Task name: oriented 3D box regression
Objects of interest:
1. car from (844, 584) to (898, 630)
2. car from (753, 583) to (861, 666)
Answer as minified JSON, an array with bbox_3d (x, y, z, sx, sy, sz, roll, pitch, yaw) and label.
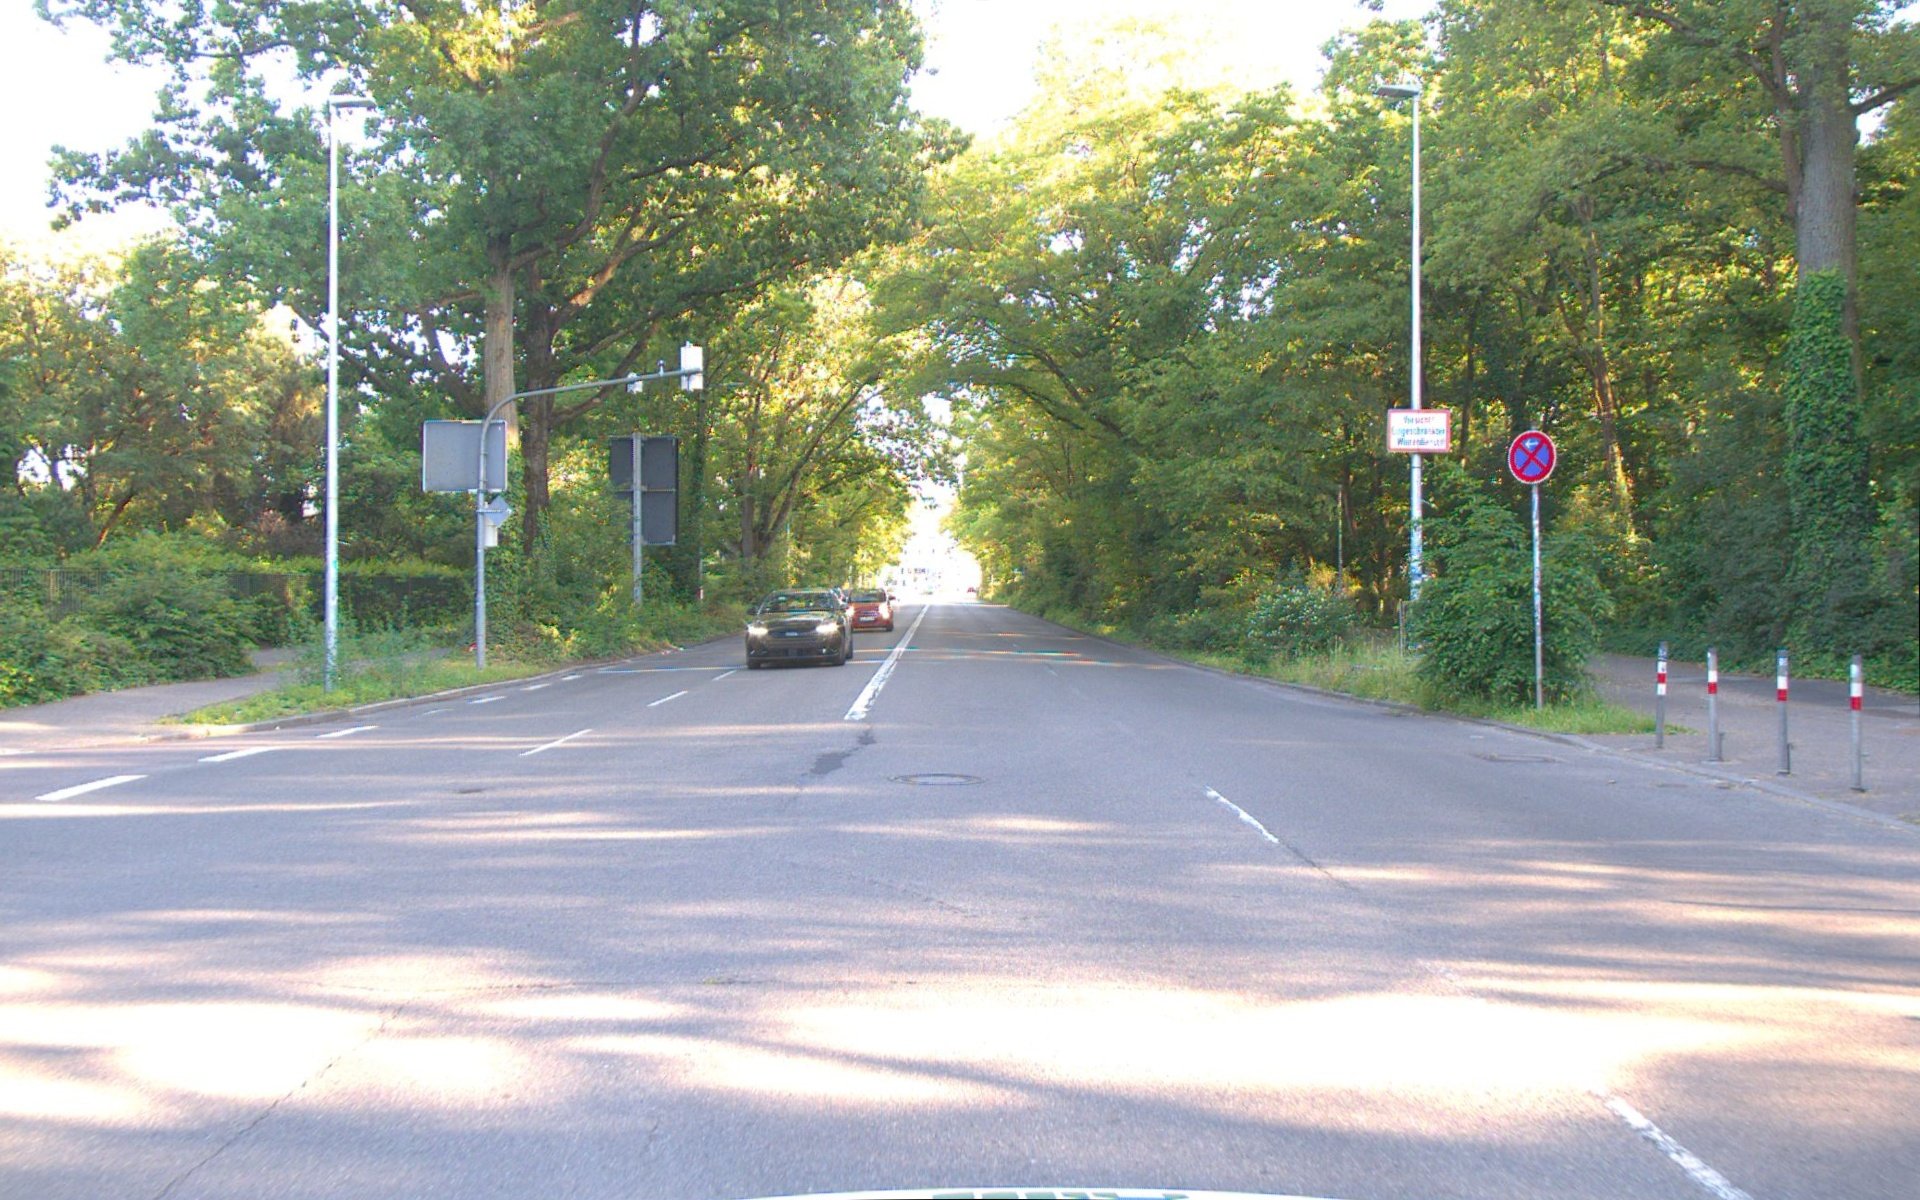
[{"bbox_3d":[-3.064,0.223,57.620,1.761,1.533,4.363,-1,0,-2],"label":"car"},{"bbox_3d":[-2.987,0.452,33.123,1.849,1.533,4.363,-1,0,-2],"label":"car"}]
